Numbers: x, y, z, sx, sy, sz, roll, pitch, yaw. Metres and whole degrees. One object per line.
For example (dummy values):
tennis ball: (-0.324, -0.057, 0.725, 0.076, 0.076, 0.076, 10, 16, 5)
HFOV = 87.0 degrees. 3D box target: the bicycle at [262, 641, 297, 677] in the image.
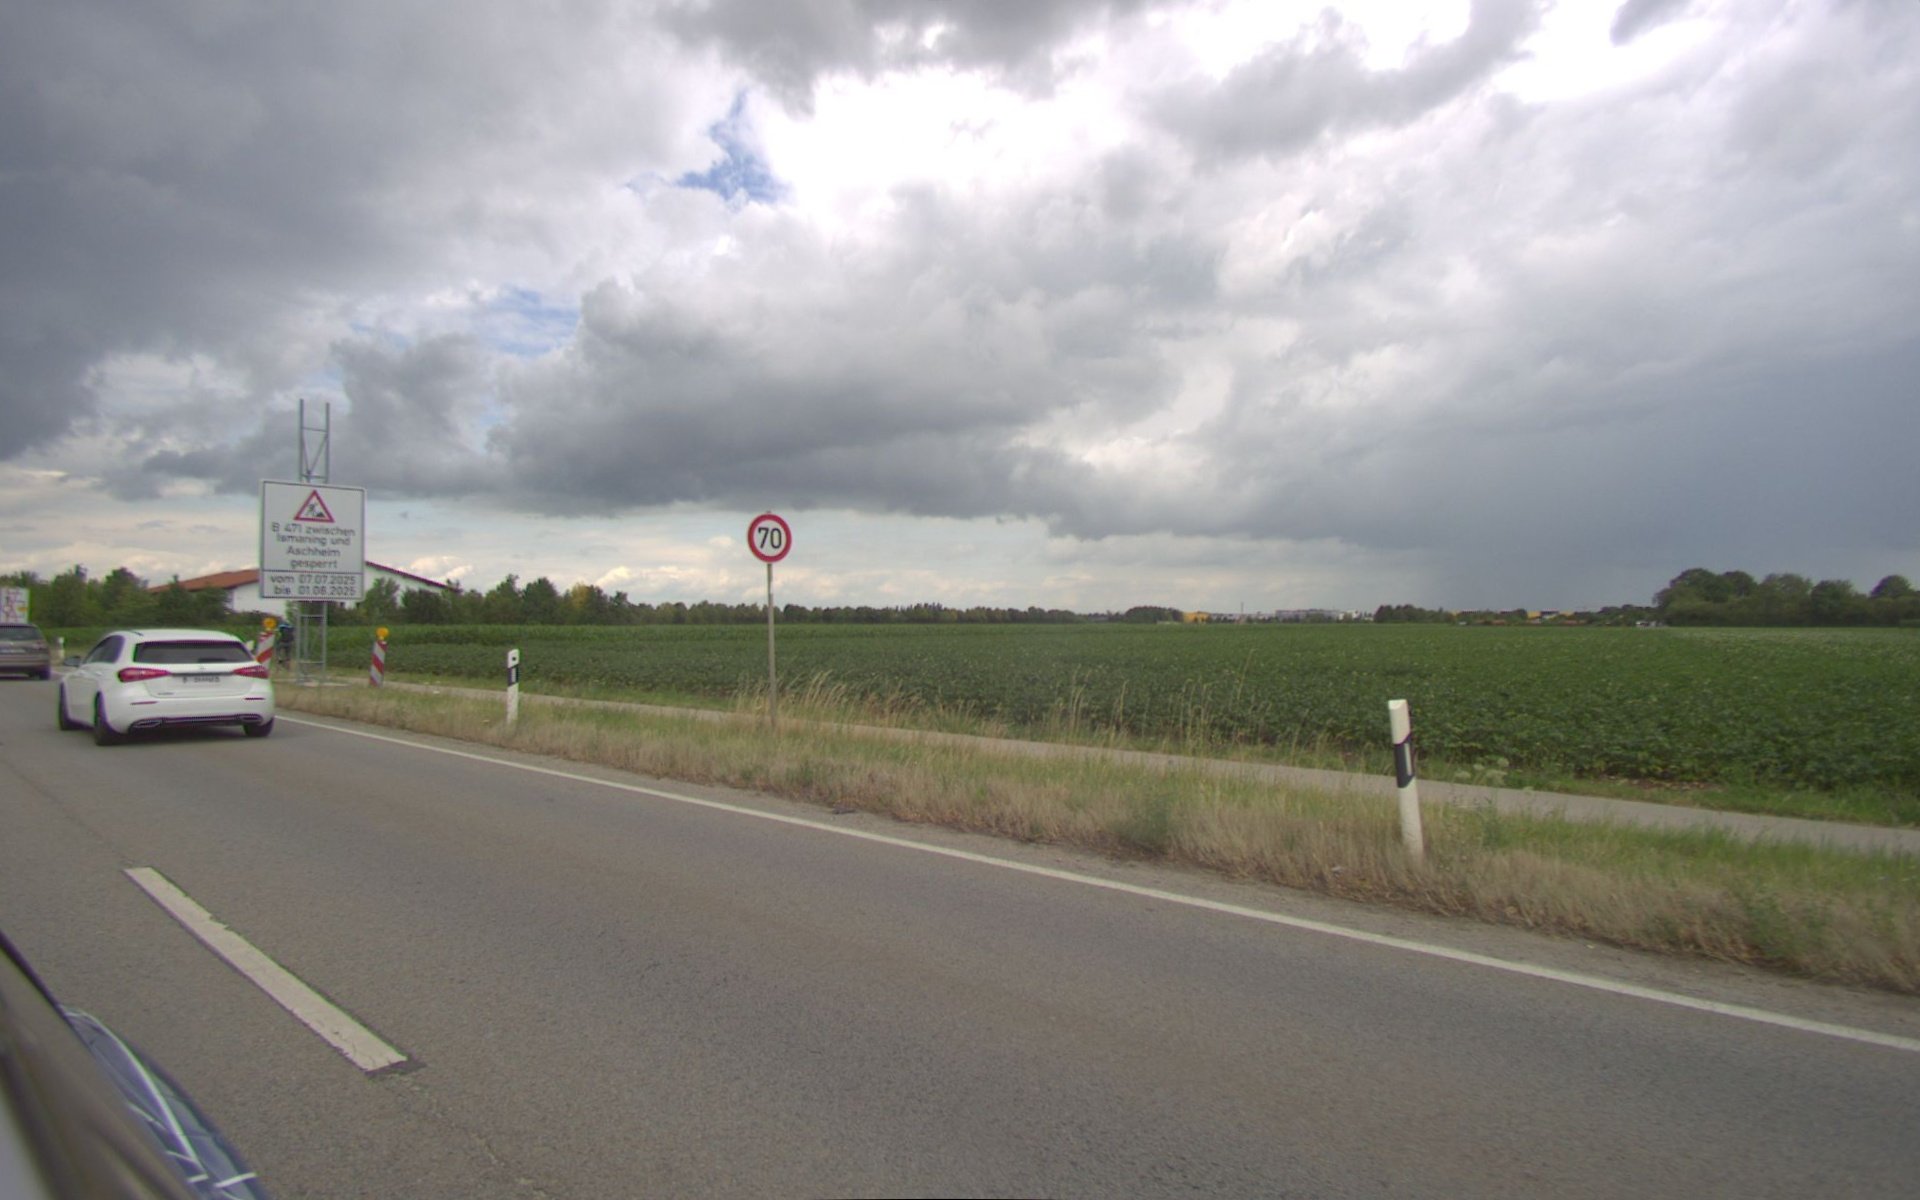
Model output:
bicycle: (-23.019, 1.991, 34.214, 1.794, 1.164, 0.523, -2, -4, 42)

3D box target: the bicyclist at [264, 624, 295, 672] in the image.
bicyclist: (-23.021, 1.605, 34.240, 1.223, 1.596, 0.523, -2, -4, 42)

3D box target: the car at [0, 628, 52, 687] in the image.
car: (-26.675, 1.556, 28.069, 4.299, 1.551, 1.686, -2, -3, 41)

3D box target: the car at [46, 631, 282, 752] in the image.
car: (-10.827, 1.130, 13.667, 4.098, 1.383, 1.754, -1, -4, 41)
